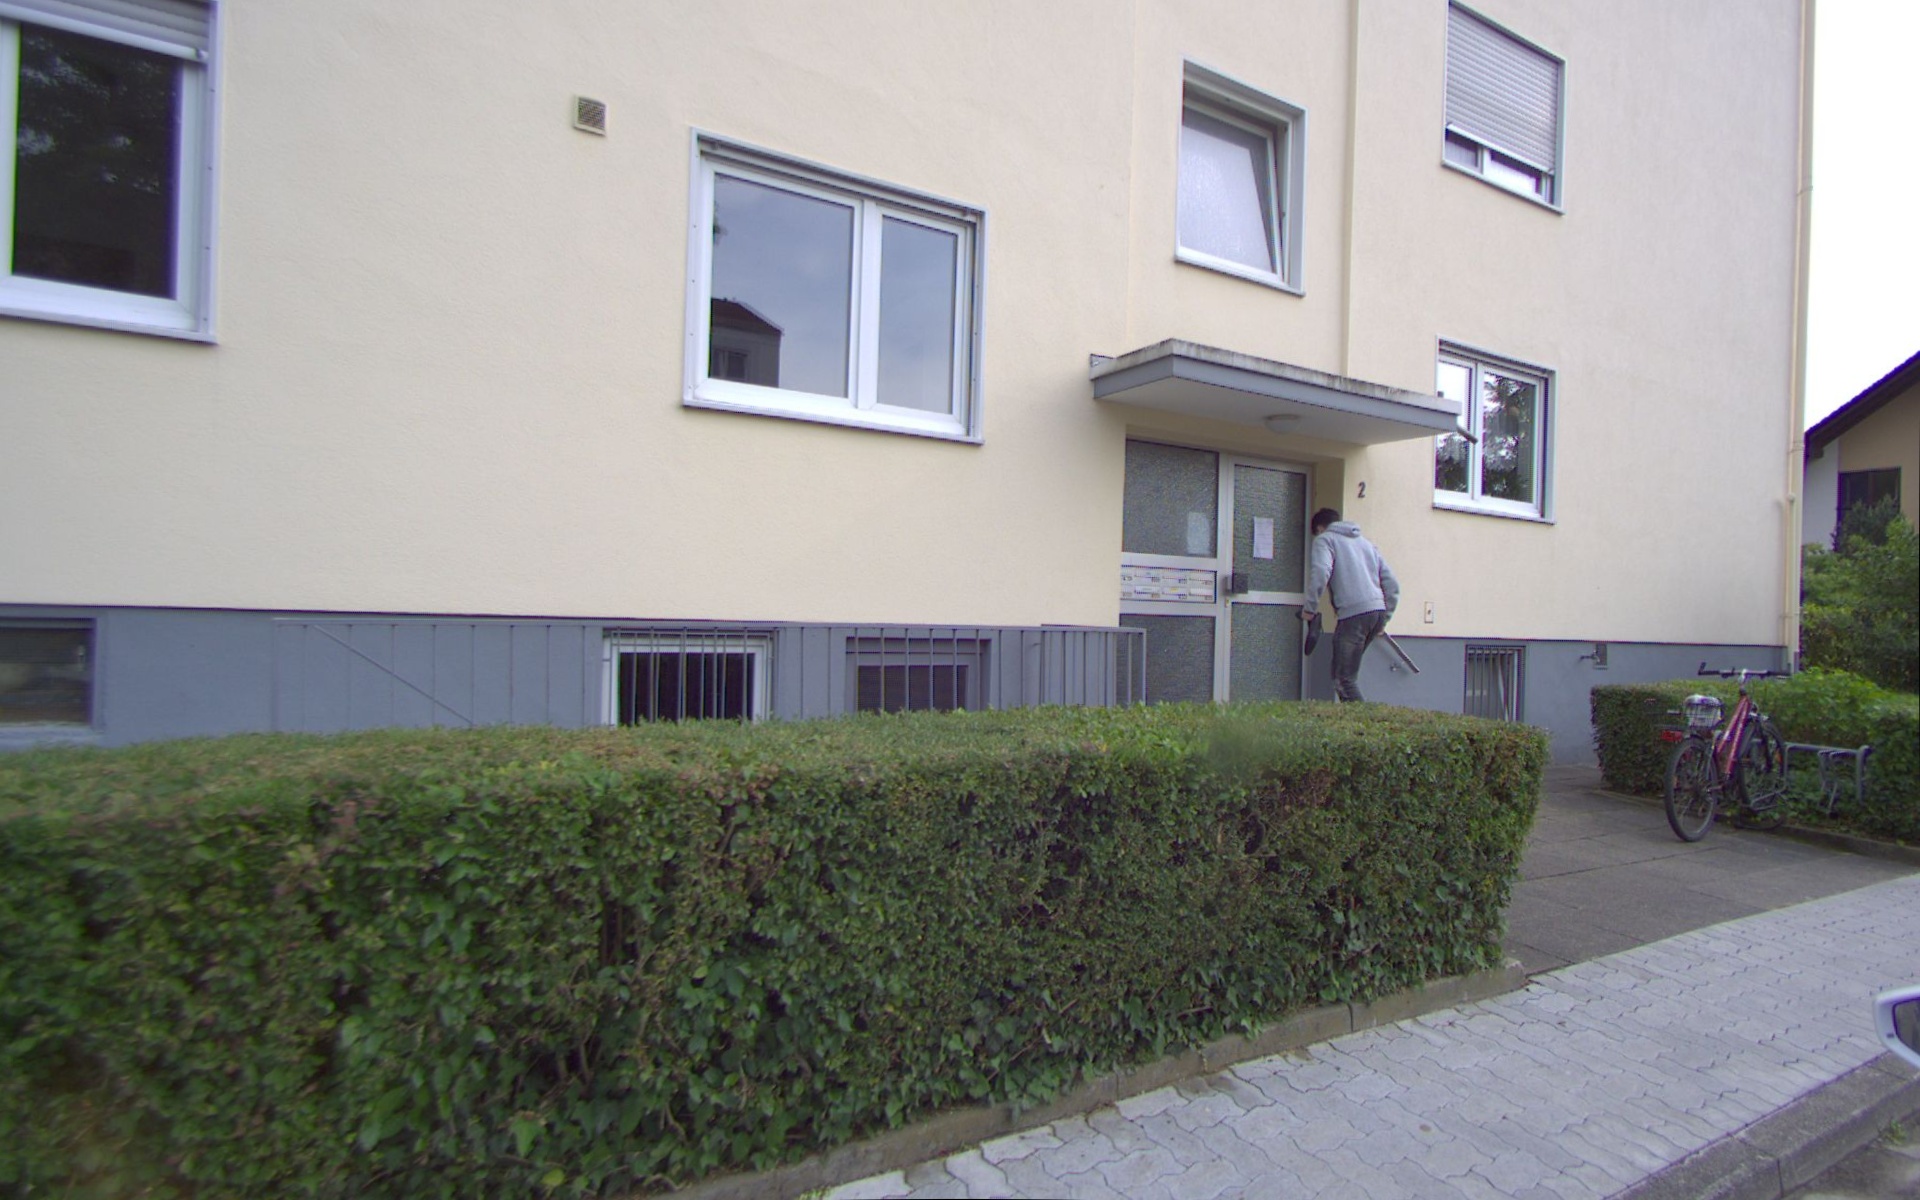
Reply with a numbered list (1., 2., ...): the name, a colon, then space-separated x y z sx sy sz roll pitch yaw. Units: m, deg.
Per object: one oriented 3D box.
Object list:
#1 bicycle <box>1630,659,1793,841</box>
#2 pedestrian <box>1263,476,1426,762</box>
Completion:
1. bicycle: 4.969 0.952 6.617 1.401 1.090 0.316 2 0 -31
2. pedestrian: 2.575 0.122 6.734 0.749 1.772 0.674 2 0 -37
